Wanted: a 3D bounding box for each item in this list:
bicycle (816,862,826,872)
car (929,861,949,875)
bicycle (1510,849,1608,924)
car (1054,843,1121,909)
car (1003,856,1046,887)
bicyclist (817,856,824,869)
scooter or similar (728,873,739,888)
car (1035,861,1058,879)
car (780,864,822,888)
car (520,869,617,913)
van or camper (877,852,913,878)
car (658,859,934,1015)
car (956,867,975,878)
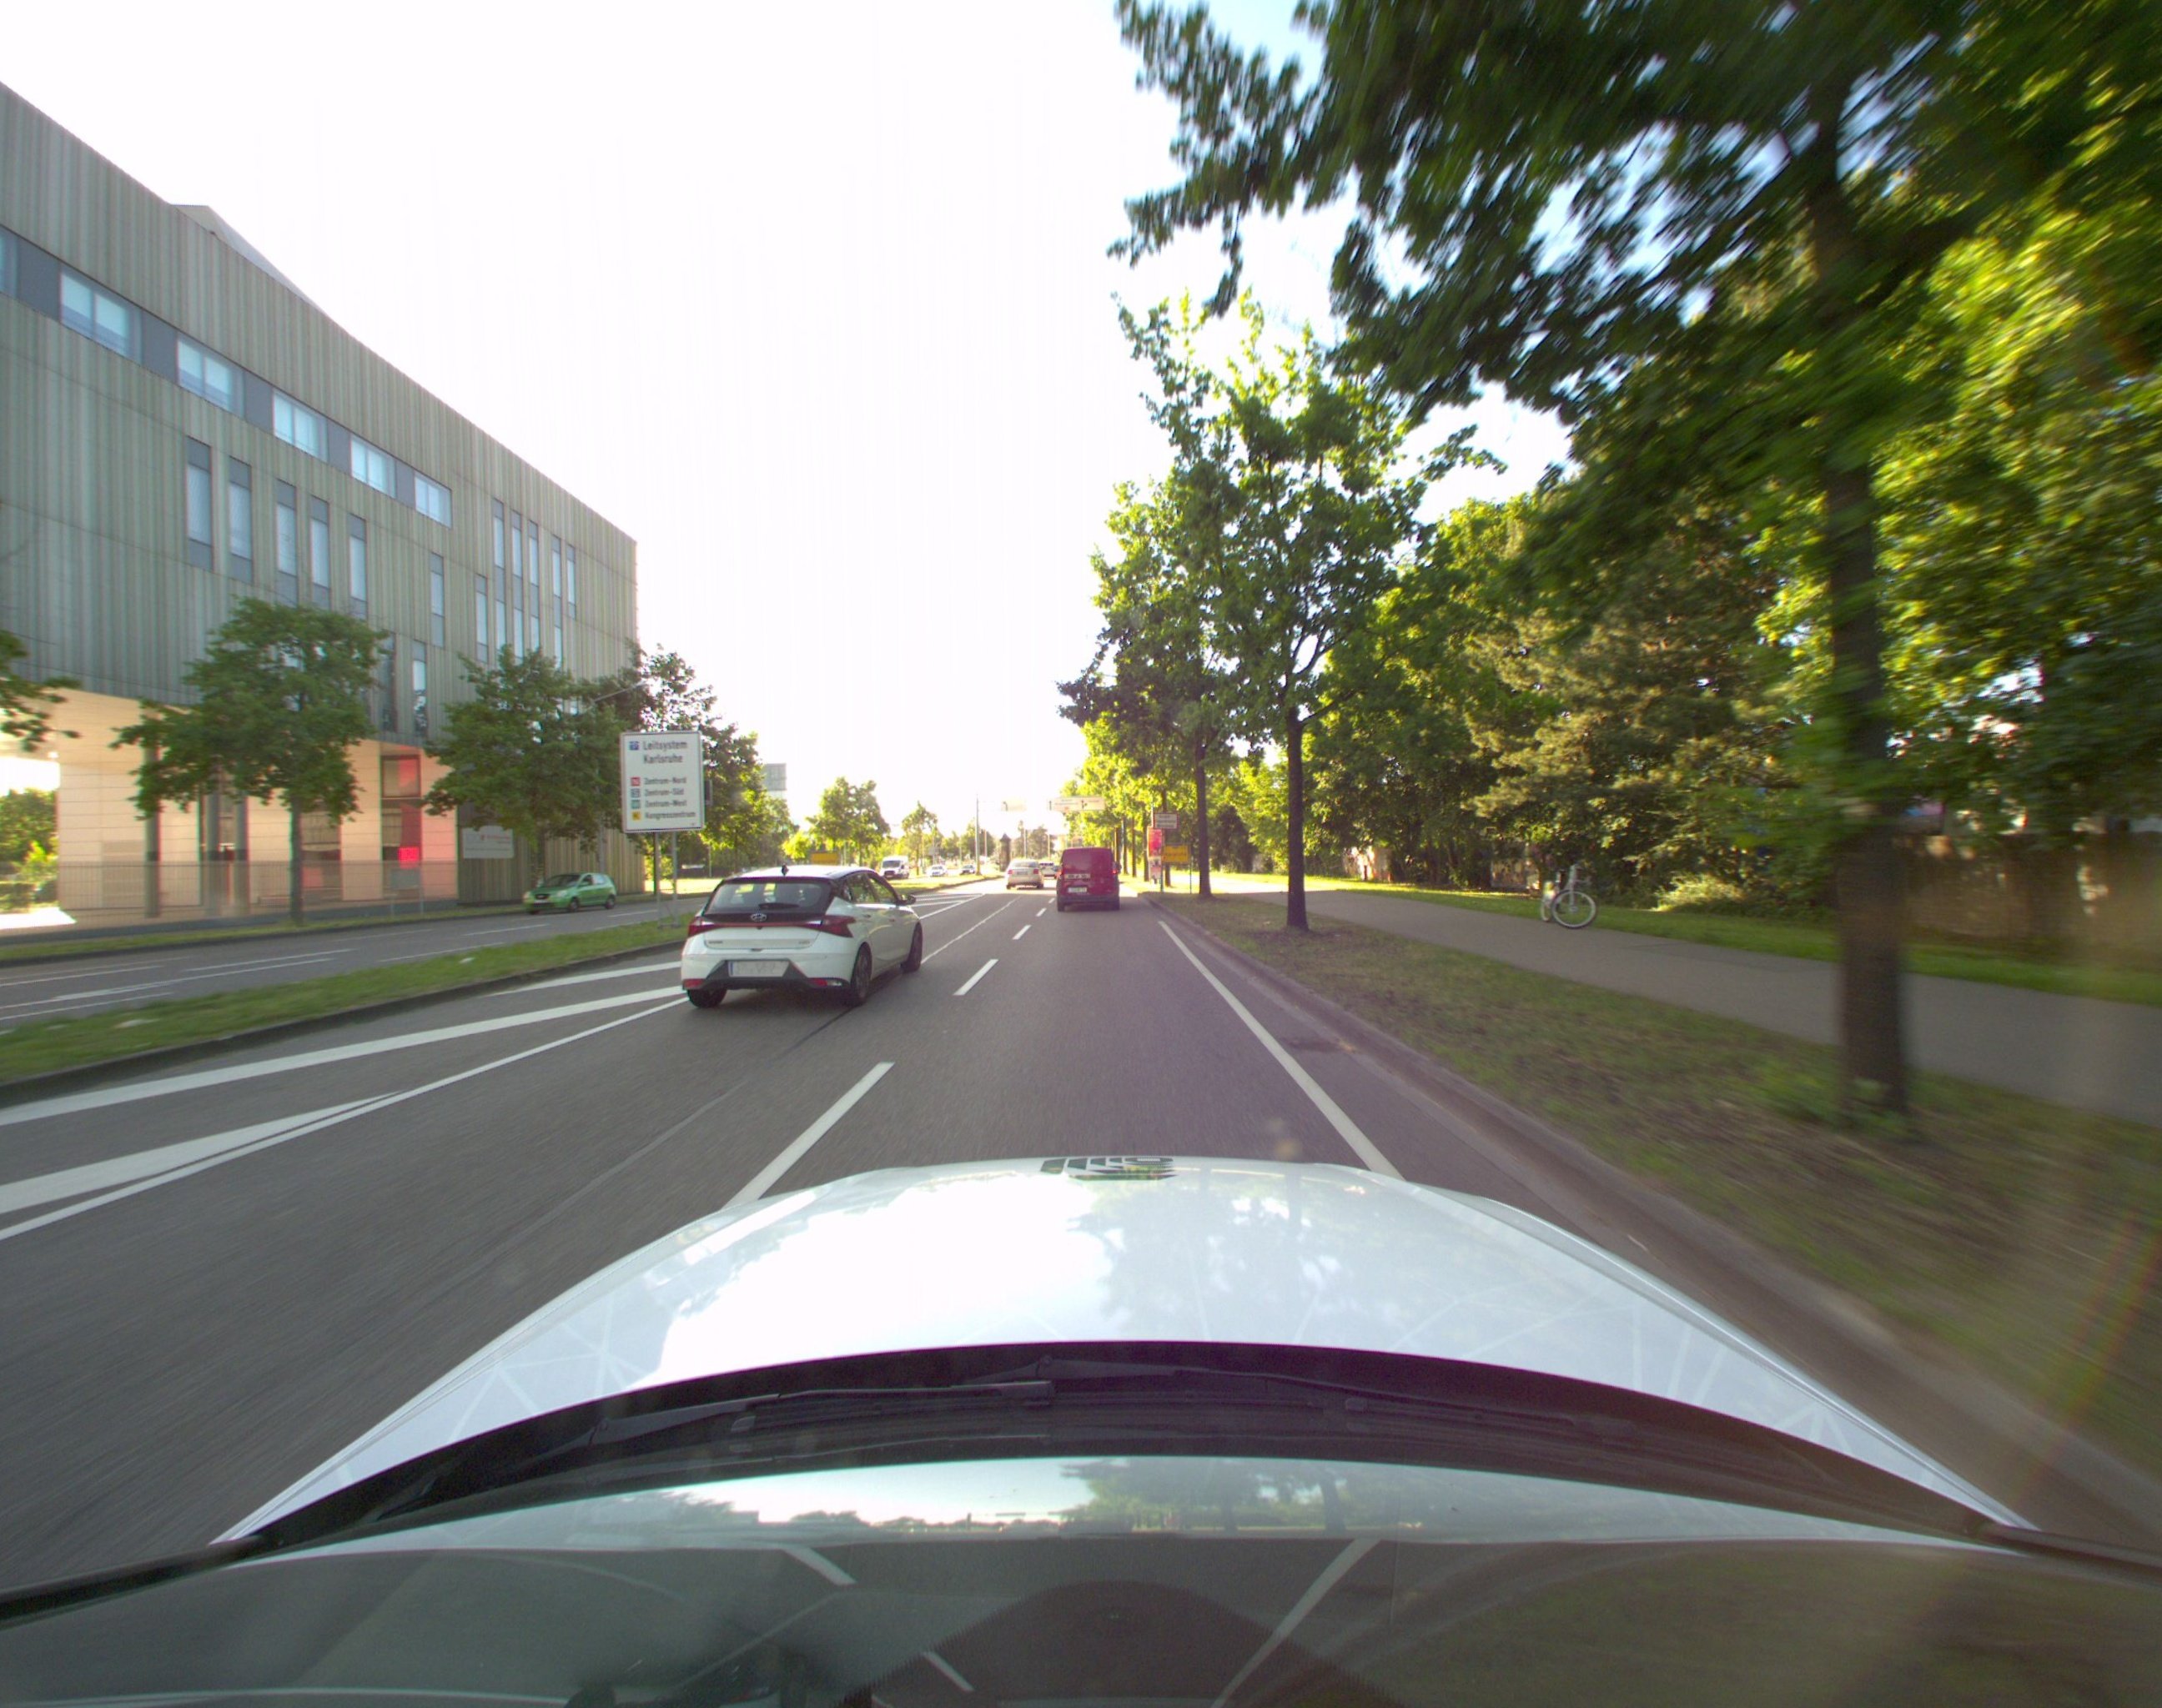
[{"bbox_3d":[-27.757,1.358,86.994,0.485,1.003,2.095,-2,-1,-1],"label":"bicycle"},{"bbox_3d":[-16.183,1.601,93.010,1.684,1.476,4.046,-2,0,-2],"label":"car"},{"bbox_3d":[7.799,0.496,13.384,0.769,1.131,1.712,-1,0,8],"label":"bicycle"},{"bbox_3d":[0.170,0.602,24.056,1.801,1.759,4.004,0,0,-1],"label":"car"},{"bbox_3d":[-2.795,0.852,41.143,1.835,1.456,4.162,0,0,0],"label":"car"},{"bbox_3d":[-27.775,0.923,86.829,0.481,1.395,0.844,-2,-1,-1],"label":"bicyclist"},{"bbox_3d":[-26.334,1.995,61.748,0.230,1.149,1.327,-1,-1,0],"label":"scooter or similar"},{"bbox_3d":[-2.748,1.263,65.159,1.656,1.398,3.557,-1,0,-1],"label":"car"},{"bbox_3d":[-19.570,1.490,57.059,1.546,1.508,4.024,-1,0,-2],"label":"car"},{"bbox_3d":[-19.028,1.351,30.404,1.442,1.436,3.457,-2,0,-2],"label":"car"},{"bbox_3d":[-17.705,1.013,77.808,1.988,2.368,5.991,-3,0,-1],"label":"van or camper"},{"bbox_3d":[-3.058,0.799,9.720,1.772,1.409,4.075,-1,0,1],"label":"car"},{"bbox_3d":[-13.820,2.216,97.516,1.823,1.111,4.171,-2,0,-2],"label":"car"}]
